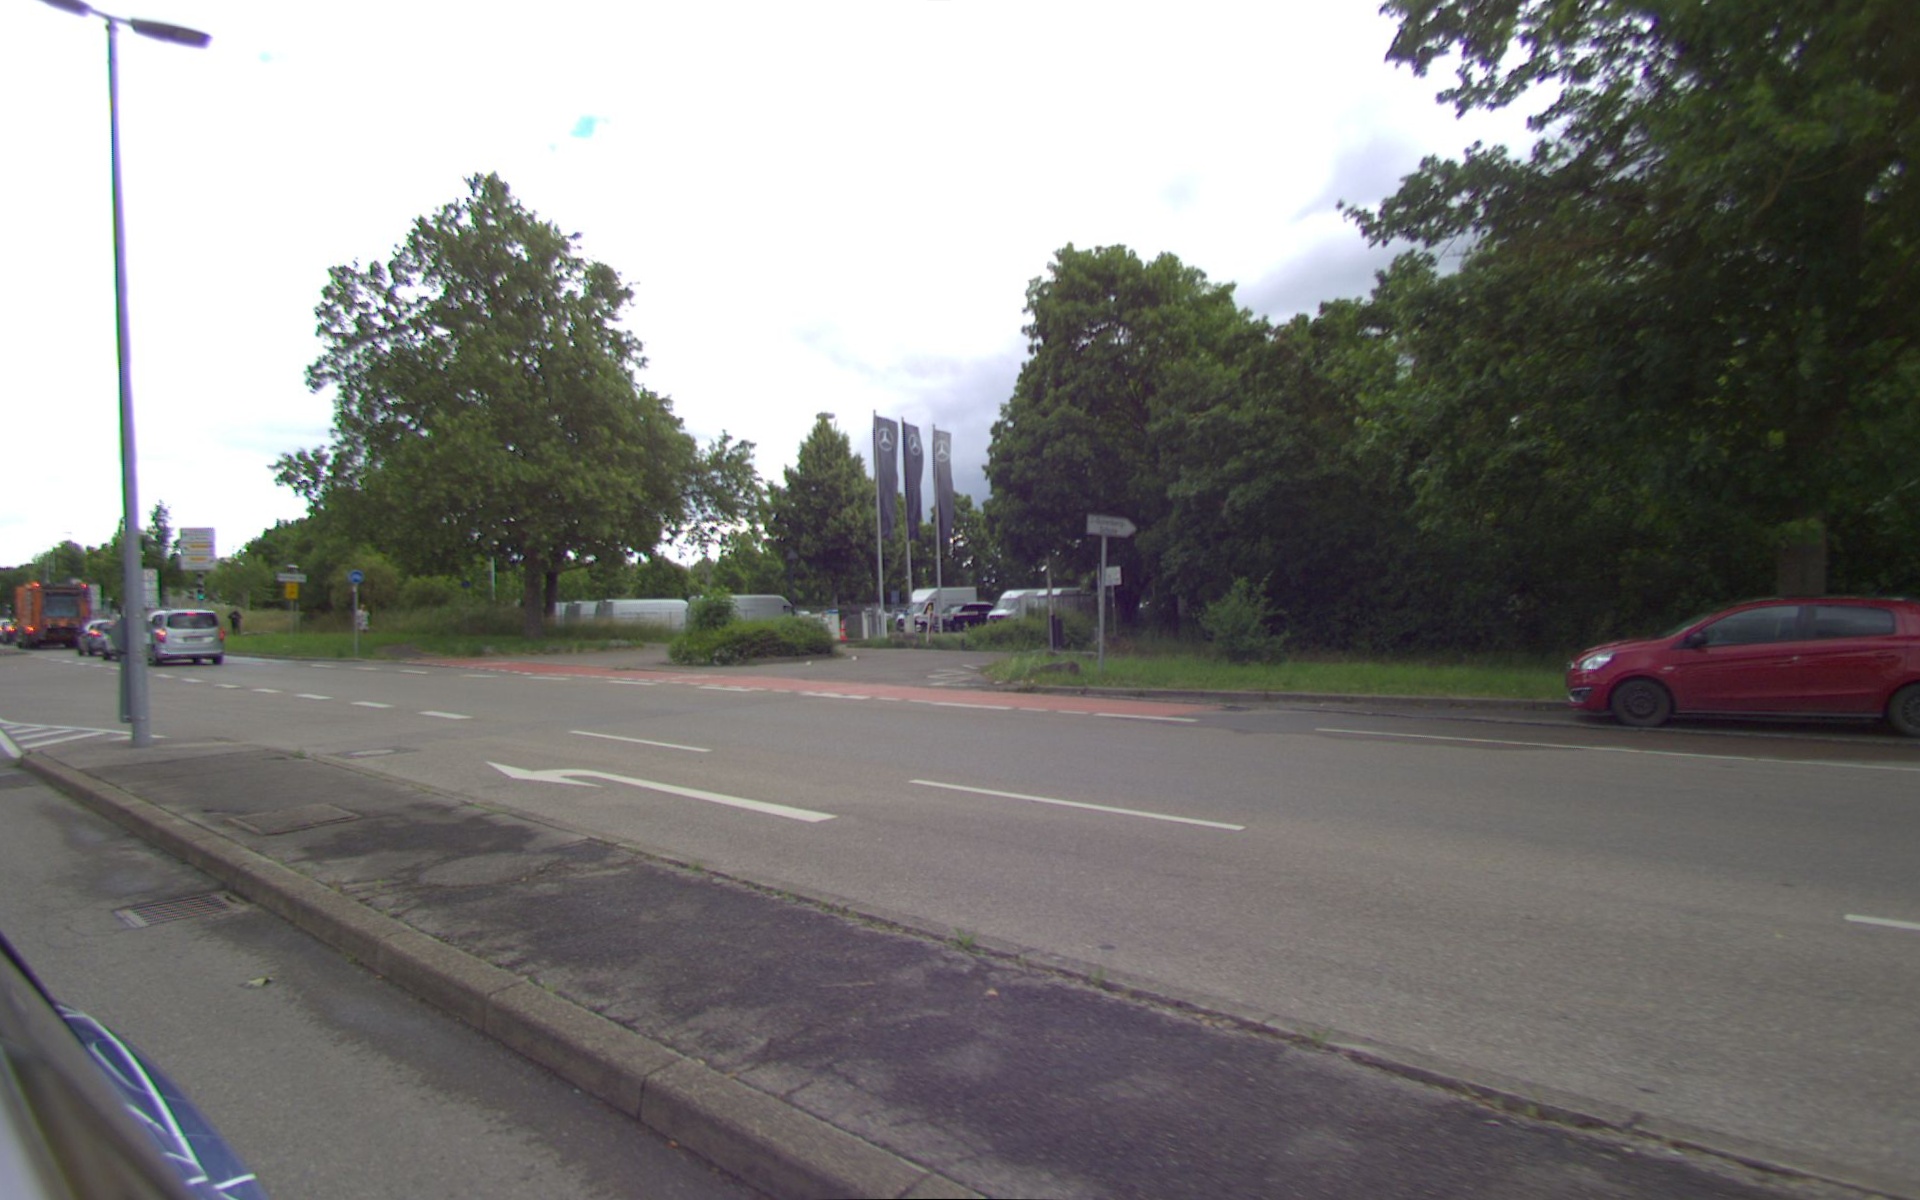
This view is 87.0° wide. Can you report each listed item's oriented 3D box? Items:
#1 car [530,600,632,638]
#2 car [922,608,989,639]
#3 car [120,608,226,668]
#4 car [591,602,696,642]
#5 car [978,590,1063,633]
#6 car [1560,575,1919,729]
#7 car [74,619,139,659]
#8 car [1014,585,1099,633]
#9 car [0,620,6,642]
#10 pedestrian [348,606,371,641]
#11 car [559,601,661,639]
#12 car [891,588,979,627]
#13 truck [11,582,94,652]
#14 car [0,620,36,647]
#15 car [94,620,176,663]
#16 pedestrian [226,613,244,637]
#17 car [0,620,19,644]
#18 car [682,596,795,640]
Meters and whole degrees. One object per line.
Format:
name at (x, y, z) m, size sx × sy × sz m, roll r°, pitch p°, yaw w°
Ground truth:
car at (-21.370, 1.080, 57.289) m, size 1.738 × 2.029 × 5.232 m, roll 0°, pitch -1°, yaw 39°
car at (-0.265, 1.524, 67.989) m, size 1.996 × 1.820 × 4.885 m, roll 0°, pitch 1°, yaw 37°
car at (-26.050, 1.212, 33.456) m, size 4.402 × 1.783 × 1.810 m, roll -1°, pitch 1°, yaw 40°
car at (-16.794, 1.143, 53.956) m, size 1.738 × 2.029 × 5.230 m, roll 0°, pitch -1°, yaw 40°
car at (3.944, 0.664, 64.700) m, size 1.996 × 2.431 × 6.877 m, roll 0°, pitch 1°, yaw 36°
car at (9.135, 0.532, 11.518) m, size 3.877 × 1.518 × 1.860 m, roll -1°, pitch 1°, yaw 34°
car at (-36.236, 1.633, 42.928) m, size 3.349 × 1.574 × 1.618 m, roll -1°, pitch 0°, yaw 41°
car at (6.086, 0.517, 62.898) m, size 1.996 × 2.706 × 6.877 m, roll 0°, pitch 1°, yaw 36°
car at (-71.191, 2.285, 74.303) m, size 3.584 × 1.630 × 1.570 m, roll -1°, pitch 0°, yaw 44°
pedestrian at (-30.777, 1.217, 51.850) m, size 0.637 × 1.750 × 0.749 m, roll -1°, pitch 1°, yaw 32°
car at (-19.274, 1.109, 55.925) m, size 1.738 × 2.029 × 5.232 m, roll 0°, pitch -1°, yaw 39°
car at (-1.658, 0.490, 70.521) m, size 1.999 × 2.431 × 6.867 m, roll 0°, pitch 1°, yaw 41°
truck at (-48.724, 0.899, 54.250) m, size 7.825 × 3.507 × 2.793 m, roll -1°, pitch 0°, yaw 44°
car at (-59.959, 2.115, 64.369) m, size 3.352 × 1.630 × 1.570 m, roll -1°, pitch 0°, yaw 44°
car at (-30.638, 1.521, 37.546) m, size 4.120 × 1.497 × 1.710 m, roll -1°, pitch -1°, yaw 41°
pedestrian at (-44.839, 1.538, 62.596) m, size 0.639 × 1.458 × 0.747 m, roll 0°, pitch 1°, yaw 40°
car at (-66.177, 2.228, 69.903) m, size 3.584 × 1.630 × 1.570 m, roll -1°, pitch 0°, yaw 44°
car at (-10.574, 0.863, 48.724) m, size 2.010 × 2.029 × 5.232 m, roll 0°, pitch -1°, yaw 39°
